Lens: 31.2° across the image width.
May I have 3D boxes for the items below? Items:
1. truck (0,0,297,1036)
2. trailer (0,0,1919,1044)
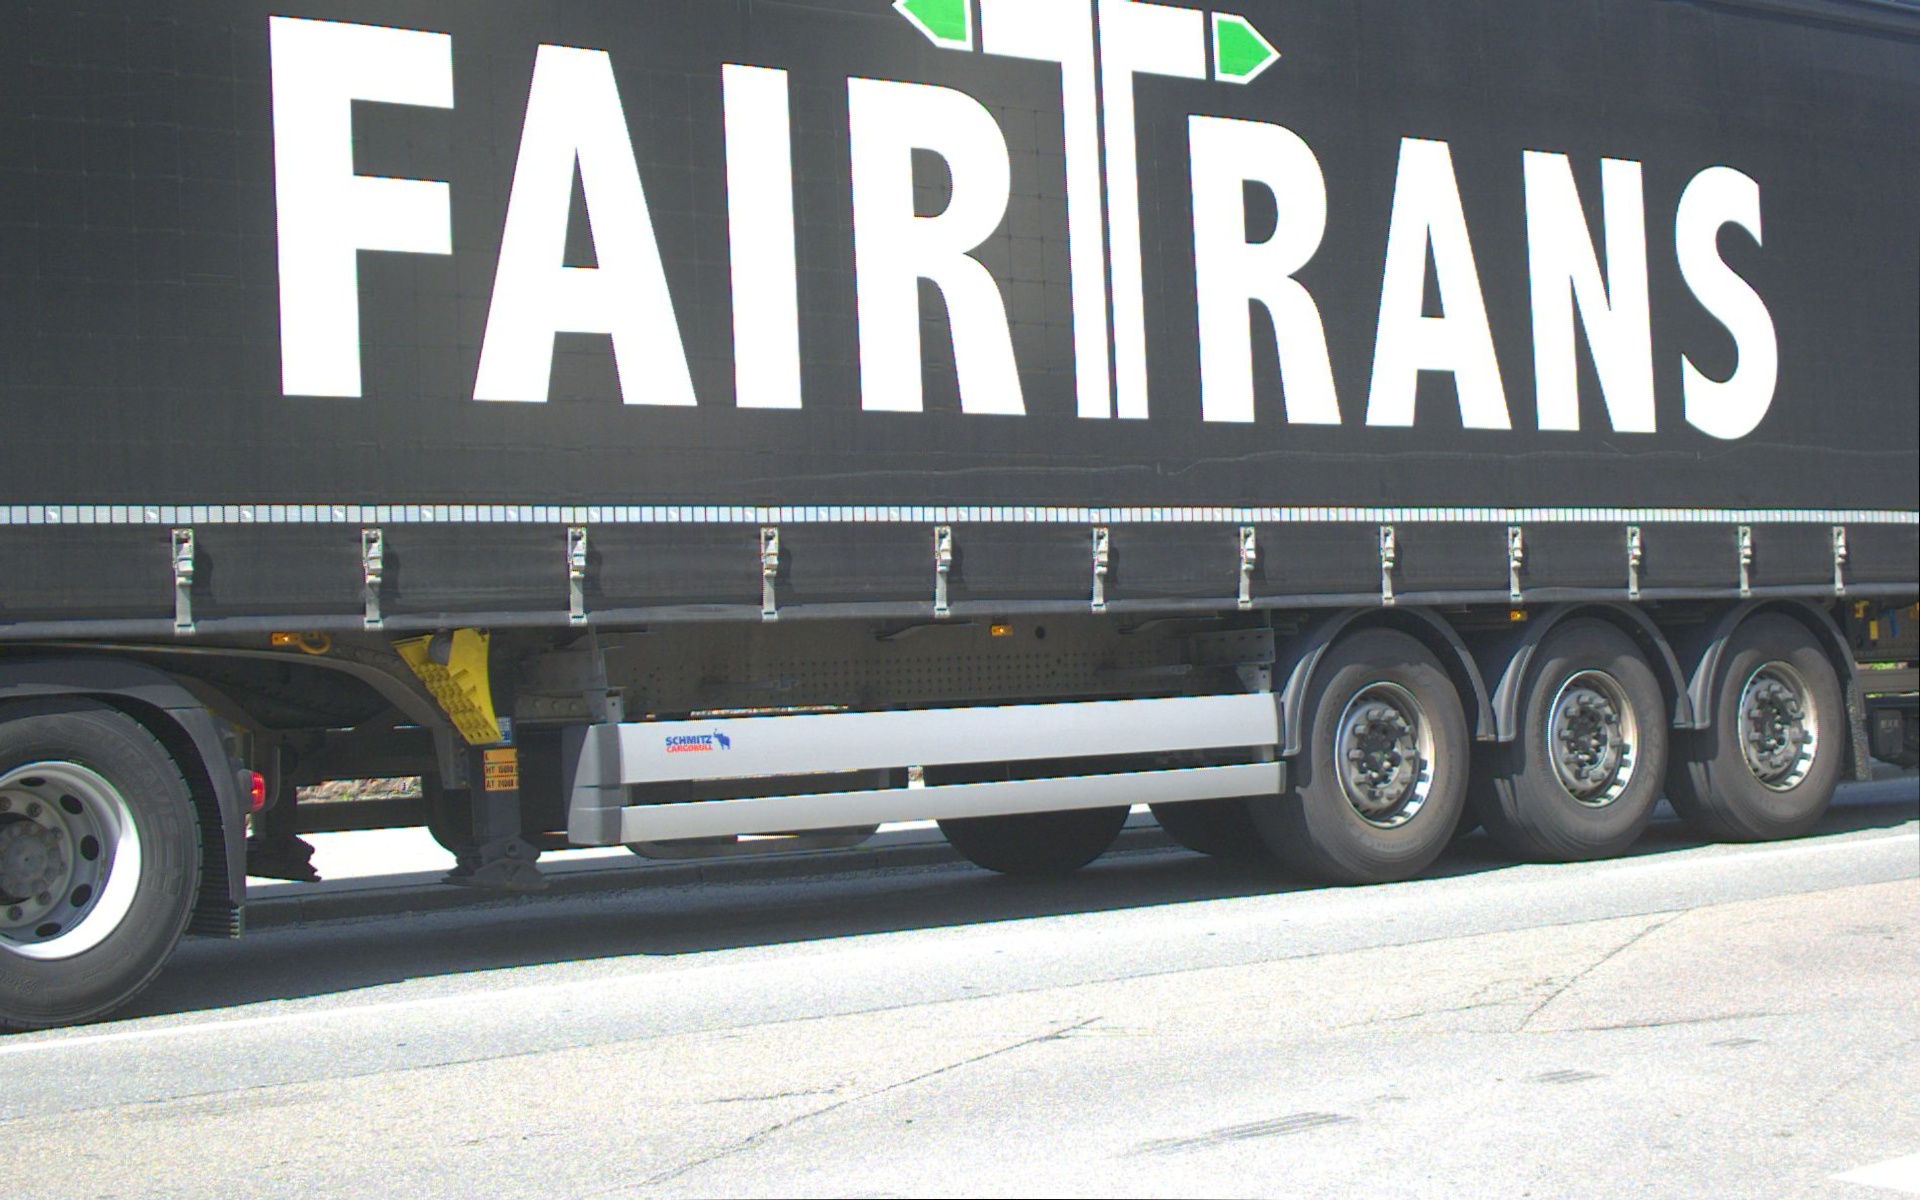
[{"bbox_3d":[-5.307,-0.660,9.852,5.915,4.057,2.838,-2,-1,-40],"label":"truck"},{"bbox_3d":[-0.086,-0.834,14.165,13.732,4.090,2.841,-2,-1,-40],"label":"trailer"}]
